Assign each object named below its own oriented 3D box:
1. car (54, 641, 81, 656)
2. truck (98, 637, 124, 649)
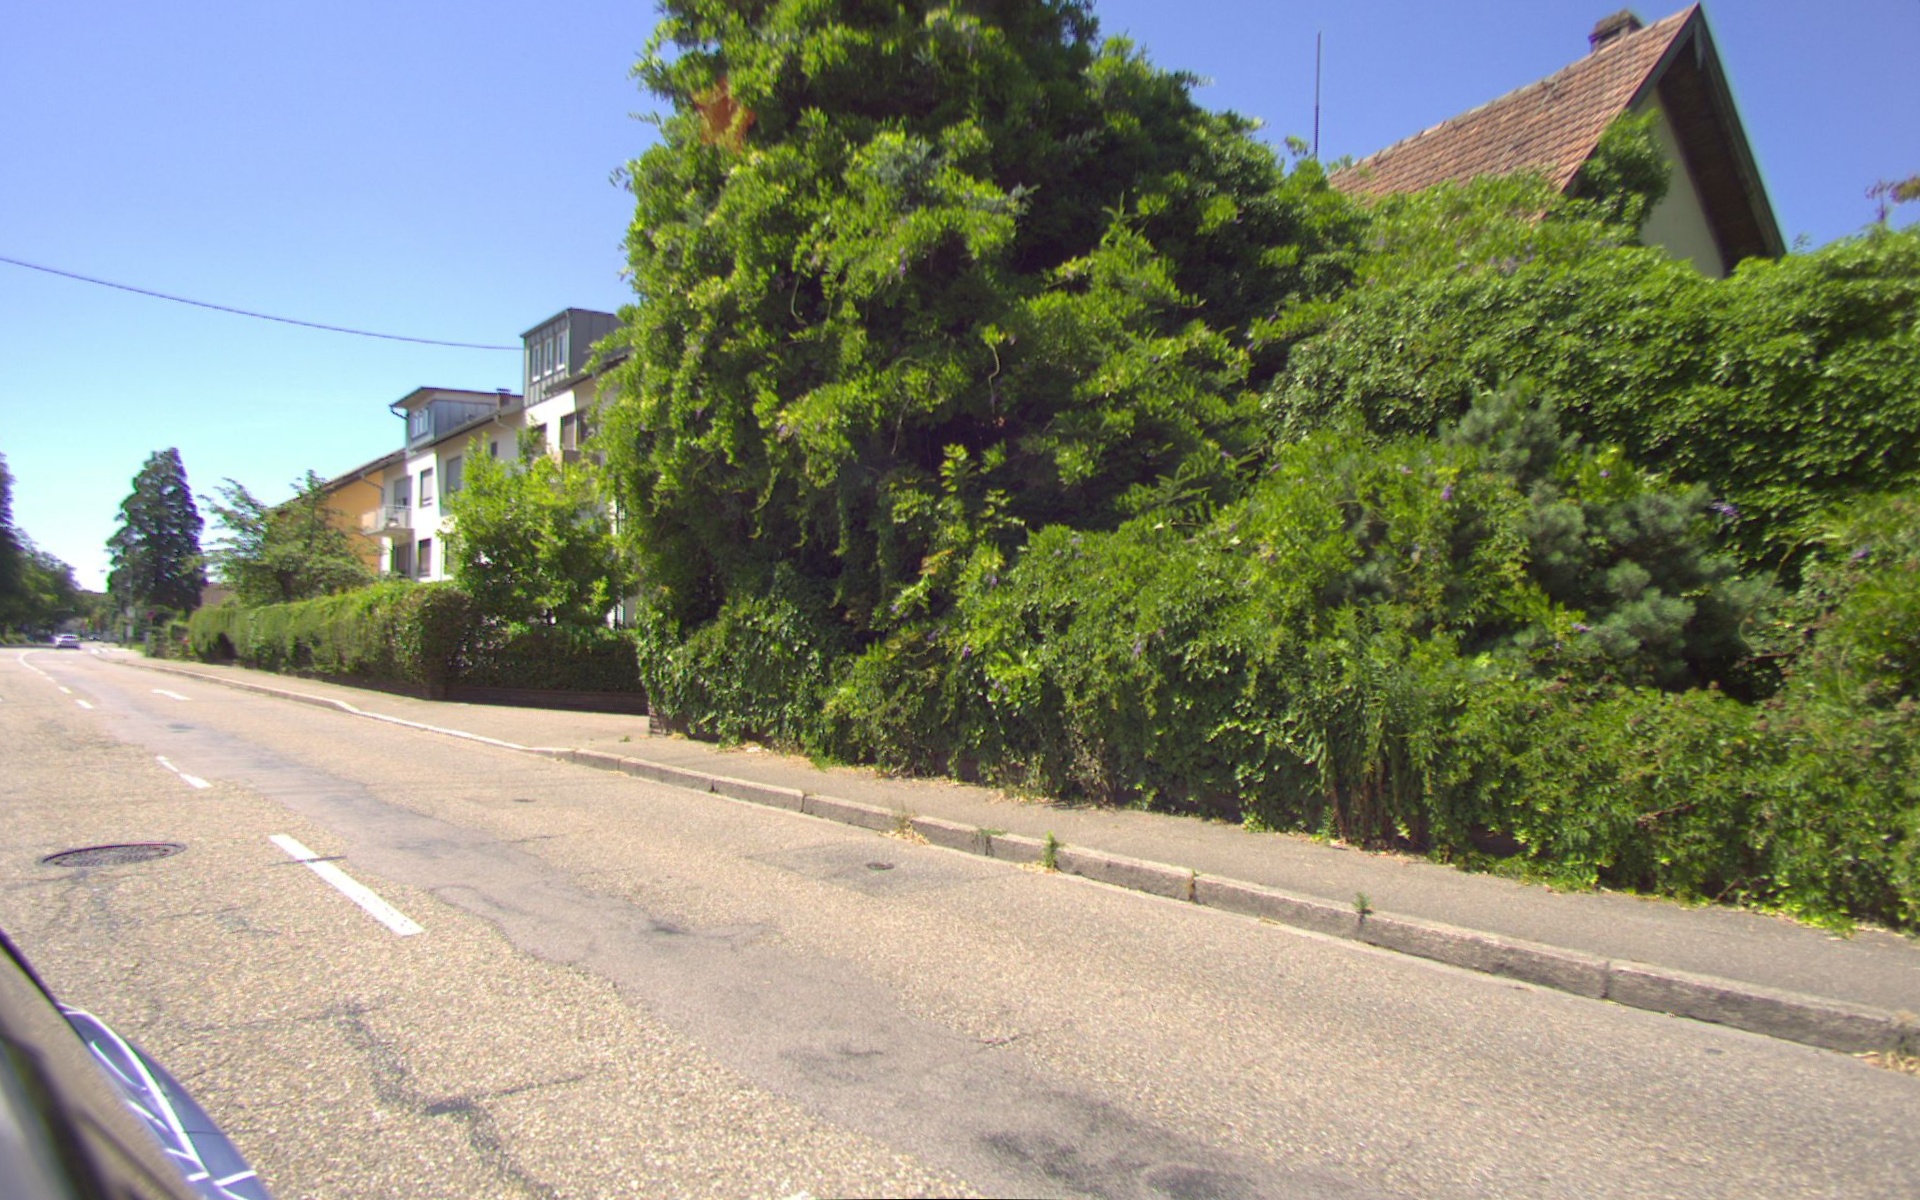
[{"bbox_3d":[-85.257,4.618,96.660,1.660,1.383,4.209,5,-5,-44],"label":"car"},{"bbox_3d":[-164.670,8.420,196.373,2.579,2.258,6.276,1,-3,-29],"label":"truck"}]
